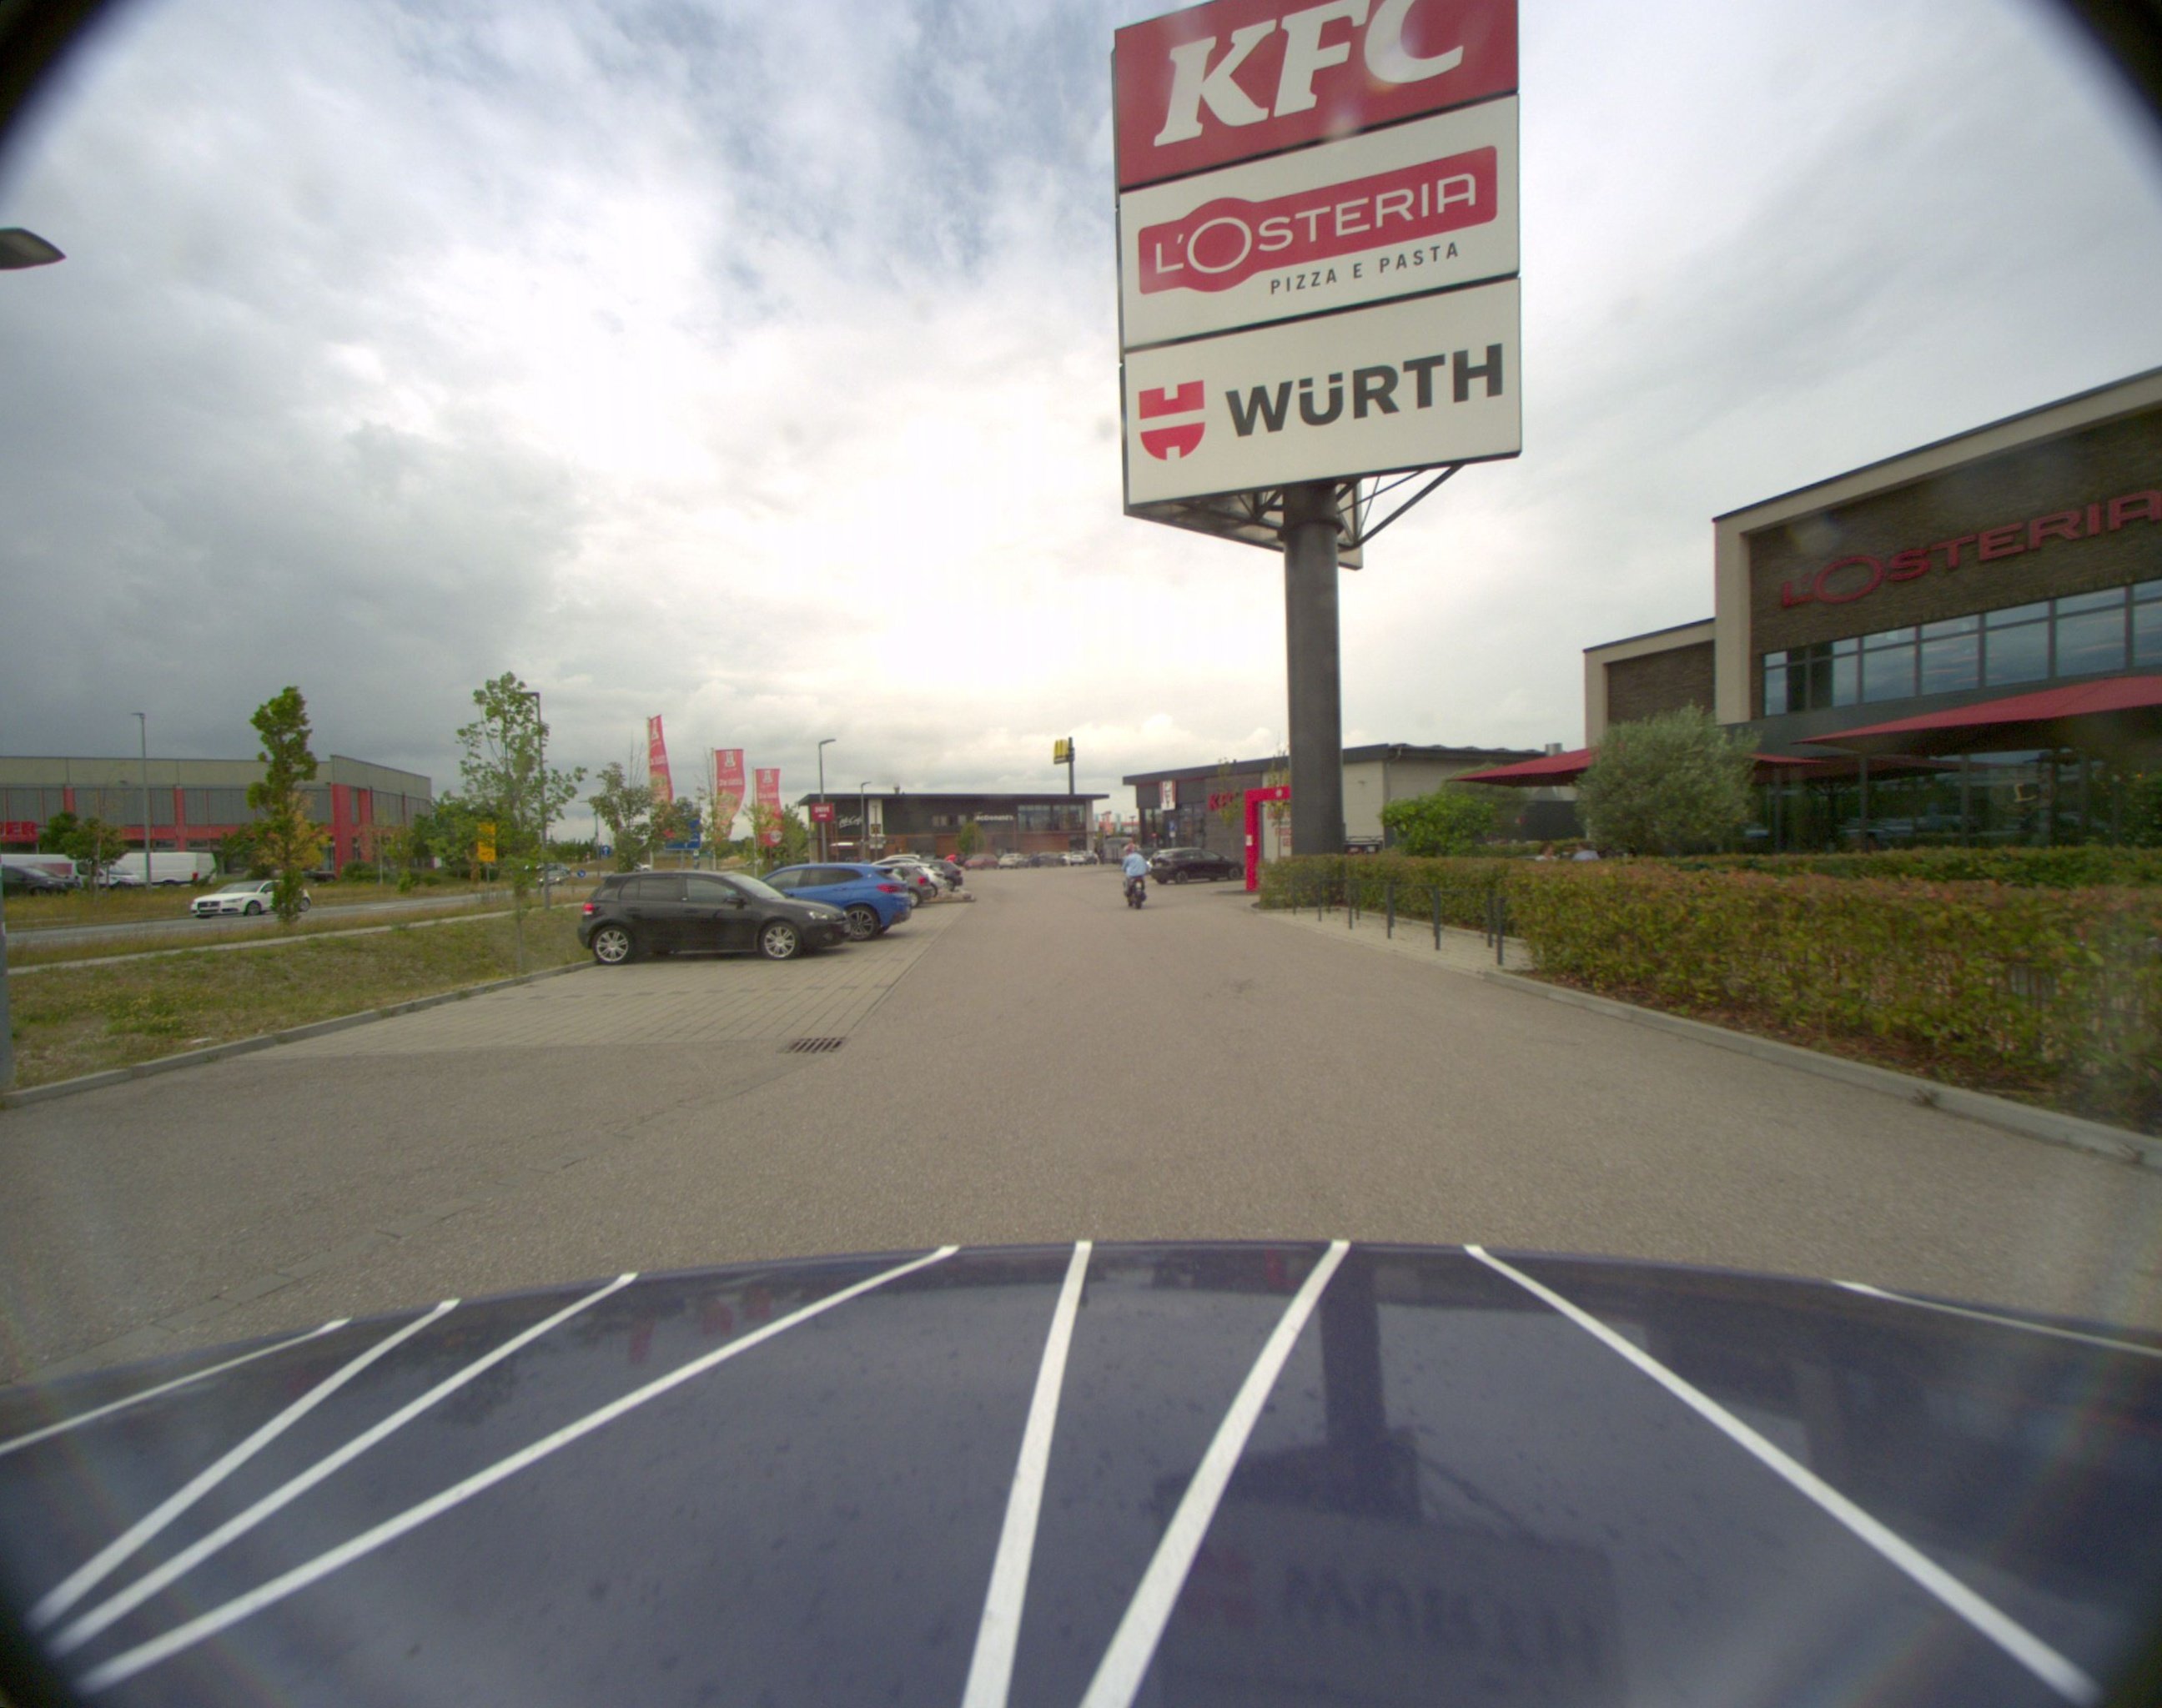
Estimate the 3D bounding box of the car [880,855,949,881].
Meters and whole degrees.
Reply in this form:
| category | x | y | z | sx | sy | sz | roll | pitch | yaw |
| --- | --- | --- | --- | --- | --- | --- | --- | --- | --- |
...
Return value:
| category | x | y | z | sx | sy | sz | roll | pitch | yaw |
| --- | --- | --- | --- | --- | --- | --- | --- | --- | --- |
| car | -10.869 | 0.876 | 49.450 | 4.074 | 1.404 | 1.885 | -4 | 1 | -21 |

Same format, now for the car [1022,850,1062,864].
| category | x | y | z | sx | sy | sz | roll | pitch | yaw |
| --- | --- | --- | --- | --- | --- | --- | --- | --- | --- |
| car | -4.251 | 0.343 | 82.372 | 3.991 | 1.501 | 1.772 | 0 | 1 | 20 |

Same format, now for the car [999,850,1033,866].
| category | x | y | z | sx | sy | sz | roll | pitch | yaw |
| --- | --- | --- | --- | --- | --- | --- | --- | --- | --- |
| car | -6.081 | 0.382 | 71.351 | 1.750 | 1.404 | 4.465 | -2 | 0 | 15 |

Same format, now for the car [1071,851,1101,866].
| category | x | y | z | sx | sy | sz | roll | pitch | yaw |
| --- | --- | --- | --- | --- | --- | --- | --- | --- | --- |
| car | 0.556 | 0.432 | 74.543 | 1.684 | 1.443 | 4.005 | -2 | 0 | 19 |

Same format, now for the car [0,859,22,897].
| category | x | y | z | sx | sy | sz | roll | pitch | yaw |
| --- | --- | --- | --- | --- | --- | --- | --- | --- | --- |
| car | -55.506 | 1.275 | 36.536 | 5.073 | 1.874 | 2.075 | -2 | 1 | -17 |

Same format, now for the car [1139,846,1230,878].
| category | x | y | z | sx | sy | sz | roll | pitch | yaw |
| --- | --- | --- | --- | --- | --- | --- | --- | --- | --- |
| car | 5.328 | 0.391 | 39.191 | 4.184 | 1.477 | 1.996 | -2 | 0 | -24 |

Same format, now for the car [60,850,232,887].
| category | x | y | z | sx | sy | sz | roll | pitch | yaw |
| --- | --- | --- | --- | --- | --- | --- | --- | --- | --- |
| car | -59.345 | 0.862 | 48.470 | 6.514 | 2.254 | 2.340 | 0 | 1 | -25 |

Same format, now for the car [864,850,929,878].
| category | x | y | z | sx | sy | sz | roll | pitch | yaw |
| --- | --- | --- | --- | --- | --- | --- | --- | --- | --- |
| car | -13.706 | 0.722 | 56.393 | 4.376 | 1.703 | 1.989 | -4 | 1 | -21 |

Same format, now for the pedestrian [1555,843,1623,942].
| category | x | y | z | sx | sy | sz | roll | pitch | yaw |
| --- | --- | --- | --- | --- | --- | --- | --- | --- | --- |
| pedestrian | 9.215 | 0.678 | 13.798 | 0.703 | 1.738 | 0.742 | 0 | 1 | -6 |

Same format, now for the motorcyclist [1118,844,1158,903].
| category | x | y | z | sx | sy | sz | roll | pitch | yaw |
| --- | --- | --- | --- | --- | --- | --- | --- | --- | --- |
| motorcyclist | 1.480 | 0.486 | 19.907 | 0.830 | 1.480 | 0.940 | -2 | 1 | -7 |

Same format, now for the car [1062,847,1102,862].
| category | x | y | z | sx | sy | sz | roll | pitch | yaw |
| --- | --- | --- | --- | --- | --- | --- | --- | --- | --- |
| car | 0.133 | 0.077 | 83.937 | 4.103 | 1.458 | 1.782 | -2 | -1 | 15 |

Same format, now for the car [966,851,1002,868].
| category | x | y | z | sx | sy | sz | roll | pitch | yaw |
| --- | --- | --- | --- | --- | --- | --- | --- | --- | --- |
| car | -8.943 | 0.487 | 70.293 | 1.684 | 1.455 | 4.005 | -2 | 0 | 19 |

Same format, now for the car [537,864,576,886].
| category | x | y | z | sx | sy | sz | roll | pitch | yaw |
| --- | --- | --- | --- | --- | --- | --- | --- | --- | --- |
| car | -45.397 | 1.767 | 65.880 | 2.002 | 1.696 | 3.991 | -1 | 2 | -24 |

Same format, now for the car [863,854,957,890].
| category | x | y | z | sx | sy | sz | roll | pitch | yaw |
| --- | --- | --- | --- | --- | --- | --- | --- | --- | --- |
| car | -8.885 | 0.885 | 39.576 | 4.547 | 1.532 | 1.923 | -4 | 1 | -14 |

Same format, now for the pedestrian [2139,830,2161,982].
| category | x | y | z | sx | sy | sz | roll | pitch | yaw |
| --- | --- | --- | --- | --- | --- | --- | --- | --- | --- |
| pedestrian | 12.720 | 0.598 | 8.505 | 0.742 | 1.738 | 0.703 | 0 | 1 | -1 |

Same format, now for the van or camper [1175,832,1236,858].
| category | x | y | z | sx | sy | sz | roll | pitch | yaw |
| --- | --- | --- | --- | --- | --- | --- | --- | --- | --- |
| van or camper | 14.478 | -0.992 | 88.449 | 6.558 | 2.685 | 2.176 | -3 | 0 | 23 |

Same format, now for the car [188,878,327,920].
| category | x | y | z | sx | sy | sz | roll | pitch | yaw |
| --- | --- | --- | --- | --- | --- | --- | --- | --- | --- |
| car | -33.536 | 1.793 | 31.114 | 1.755 | 1.482 | 4.126 | -2 | -1 | -12 |

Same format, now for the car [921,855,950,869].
| category | x | y | z | sx | sy | sz | roll | pitch | yaw |
| --- | --- | --- | --- | --- | --- | --- | --- | --- | --- |
| car | -17.300 | 0.893 | 90.568 | 1.747 | 1.575 | 3.909 | 0 | 1 | 16 |

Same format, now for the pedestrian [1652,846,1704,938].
| category | x | y | z | sx | sy | sz | roll | pitch | yaw |
| --- | --- | --- | --- | --- | --- | --- | --- | --- | --- |
| pedestrian | 11.703 | 0.719 | 14.896 | 0.744 | 1.738 | 0.702 | -1 | 1 | -44 |

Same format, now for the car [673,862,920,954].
| category | x | y | z | sx | sy | sz | roll | pitch | yaw |
| --- | --- | --- | --- | --- | --- | --- | --- | --- | --- |
| car | -5.537 | 1.028 | 15.256 | 4.214 | 1.535 | 1.864 | -2 | 1 | -4 |

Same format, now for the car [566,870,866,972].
| category | x | y | z | sx | sy | sz | roll | pitch | yaw |
| --- | --- | --- | --- | --- | --- | --- | --- | --- | --- |
| car | -5.850 | 1.043 | 12.586 | 4.072 | 1.451 | 1.776 | -1 | 0 | -2 |

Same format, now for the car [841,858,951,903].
| category | x | y | z | sx | sy | sz | roll | pitch | yaw |
| --- | --- | --- | --- | --- | --- | --- | --- | --- | --- |
| car | -7.152 | 1.007 | 29.740 | 3.939 | 1.404 | 1.838 | -4 | 1 | -9 |

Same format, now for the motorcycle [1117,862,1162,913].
| category | x | y | z | sx | sy | sz | roll | pitch | yaw |
| --- | --- | --- | --- | --- | --- | --- | --- | --- | --- |
| motorcycle | 1.498 | 0.848 | 19.911 | 0.795 | 1.201 | 1.920 | -2 | 1 | -6 |

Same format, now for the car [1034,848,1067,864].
| category | x | y | z | sx | sy | sz | roll | pitch | yaw |
| --- | --- | --- | --- | --- | --- | --- | --- | --- | --- |
| car | -2.877 | 0.165 | 72.751 | 1.684 | 1.454 | 4.413 | -2 | 0 | 18 |

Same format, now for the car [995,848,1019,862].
| category | x | y | z | sx | sy | sz | roll | pitch | yaw |
| --- | --- | --- | --- | --- | --- | --- | --- | --- | --- |
| car | -9.623 | 0.157 | 98.742 | 1.755 | 1.743 | 3.991 | -1 | 1 | -27 |

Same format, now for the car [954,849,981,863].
| category | x | y | z | sx | sy | sz | roll | pitch | yaw |
| --- | --- | --- | --- | --- | --- | --- | --- | --- | --- |
| car | -13.685 | 0.255 | 91.659 | 1.997 | 1.739 | 4.004 | 0 | -1 | 11 |

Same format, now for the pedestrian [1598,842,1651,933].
| category | x | y | z | sx | sy | sz | roll | pitch | yaw |
| --- | --- | --- | --- | --- | --- | --- | --- | --- | --- |
| pedestrian | 10.730 | 0.637 | 15.001 | 0.744 | 1.738 | 0.702 | -1 | 1 | -44 |

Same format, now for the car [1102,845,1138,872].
| category | x | y | z | sx | sy | sz | roll | pitch | yaw |
| --- | --- | --- | --- | --- | --- | --- | --- | --- | --- |
| car | 3.949 | 0.418 | 75.378 | 2.069 | 2.538 | 7.021 | -2 | 0 | 15 |

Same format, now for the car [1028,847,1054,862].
| category | x | y | z | sx | sy | sz | roll | pitch | yaw |
| --- | --- | --- | --- | --- | --- | --- | --- | --- | --- |
| car | -5.021 | 0.087 | 96.136 | 1.894 | 1.653 | 4.262 | 0 | 3 | 16 |

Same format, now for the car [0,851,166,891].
| category | x | y | z | sx | sy | sz | roll | pitch | yaw |
| --- | --- | --- | --- | --- | --- | --- | --- | --- | --- |
| car | -57.927 | 0.960 | 43.874 | 6.066 | 2.201 | 2.411 | 0 | 0 | -23 |

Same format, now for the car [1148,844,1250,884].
| category | x | y | z | sx | sy | sz | roll | pitch | yaw |
| --- | --- | --- | --- | --- | --- | --- | --- | --- | --- |
| car | 5.209 | 0.394 | 33.464 | 4.128 | 1.520 | 1.738 | -3 | 2 | -24 |

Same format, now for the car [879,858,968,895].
| category | x | y | z | sx | sy | sz | roll | pitch | yaw |
| --- | --- | --- | --- | --- | --- | --- | --- | --- | --- |
| car | -7.180 | 1.000 | 34.680 | 3.809 | 1.404 | 1.736 | -4 | 1 | -12 |

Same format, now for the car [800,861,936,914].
| category | x | y | z | sx | sy | sz | roll | pitch | yaw |
| --- | --- | --- | --- | --- | --- | --- | --- | --- | --- |
| car | -6.907 | 1.070 | 24.989 | 3.999 | 1.420 | 1.726 | -3 | 1 | -6 |

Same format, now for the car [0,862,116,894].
| category | x | y | z | sx | sy | sz | roll | pitch | yaw |
| --- | --- | --- | --- | --- | --- | --- | --- | --- | --- |
| car | -56.460 | 1.265 | 40.954 | 5.076 | 1.629 | 2.074 | 0 | 0 | -23 |

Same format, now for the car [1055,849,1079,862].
| category | x | y | z | sx | sy | sz | roll | pitch | yaw |
| --- | --- | --- | --- | --- | --- | --- | --- | --- | --- |
| car | -1.723 | 0.176 | 98.014 | 1.786 | 1.478 | 4.004 | 0 | 3 | 20 |

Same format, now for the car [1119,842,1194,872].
| category | x | y | z | sx | sy | sz | roll | pitch | yaw |
| --- | --- | --- | --- | --- | --- | --- | --- | --- | --- |
| car | 4.387 | 0.188 | 44.330 | 3.943 | 1.478 | 1.755 | -4 | 1 | -23 |
